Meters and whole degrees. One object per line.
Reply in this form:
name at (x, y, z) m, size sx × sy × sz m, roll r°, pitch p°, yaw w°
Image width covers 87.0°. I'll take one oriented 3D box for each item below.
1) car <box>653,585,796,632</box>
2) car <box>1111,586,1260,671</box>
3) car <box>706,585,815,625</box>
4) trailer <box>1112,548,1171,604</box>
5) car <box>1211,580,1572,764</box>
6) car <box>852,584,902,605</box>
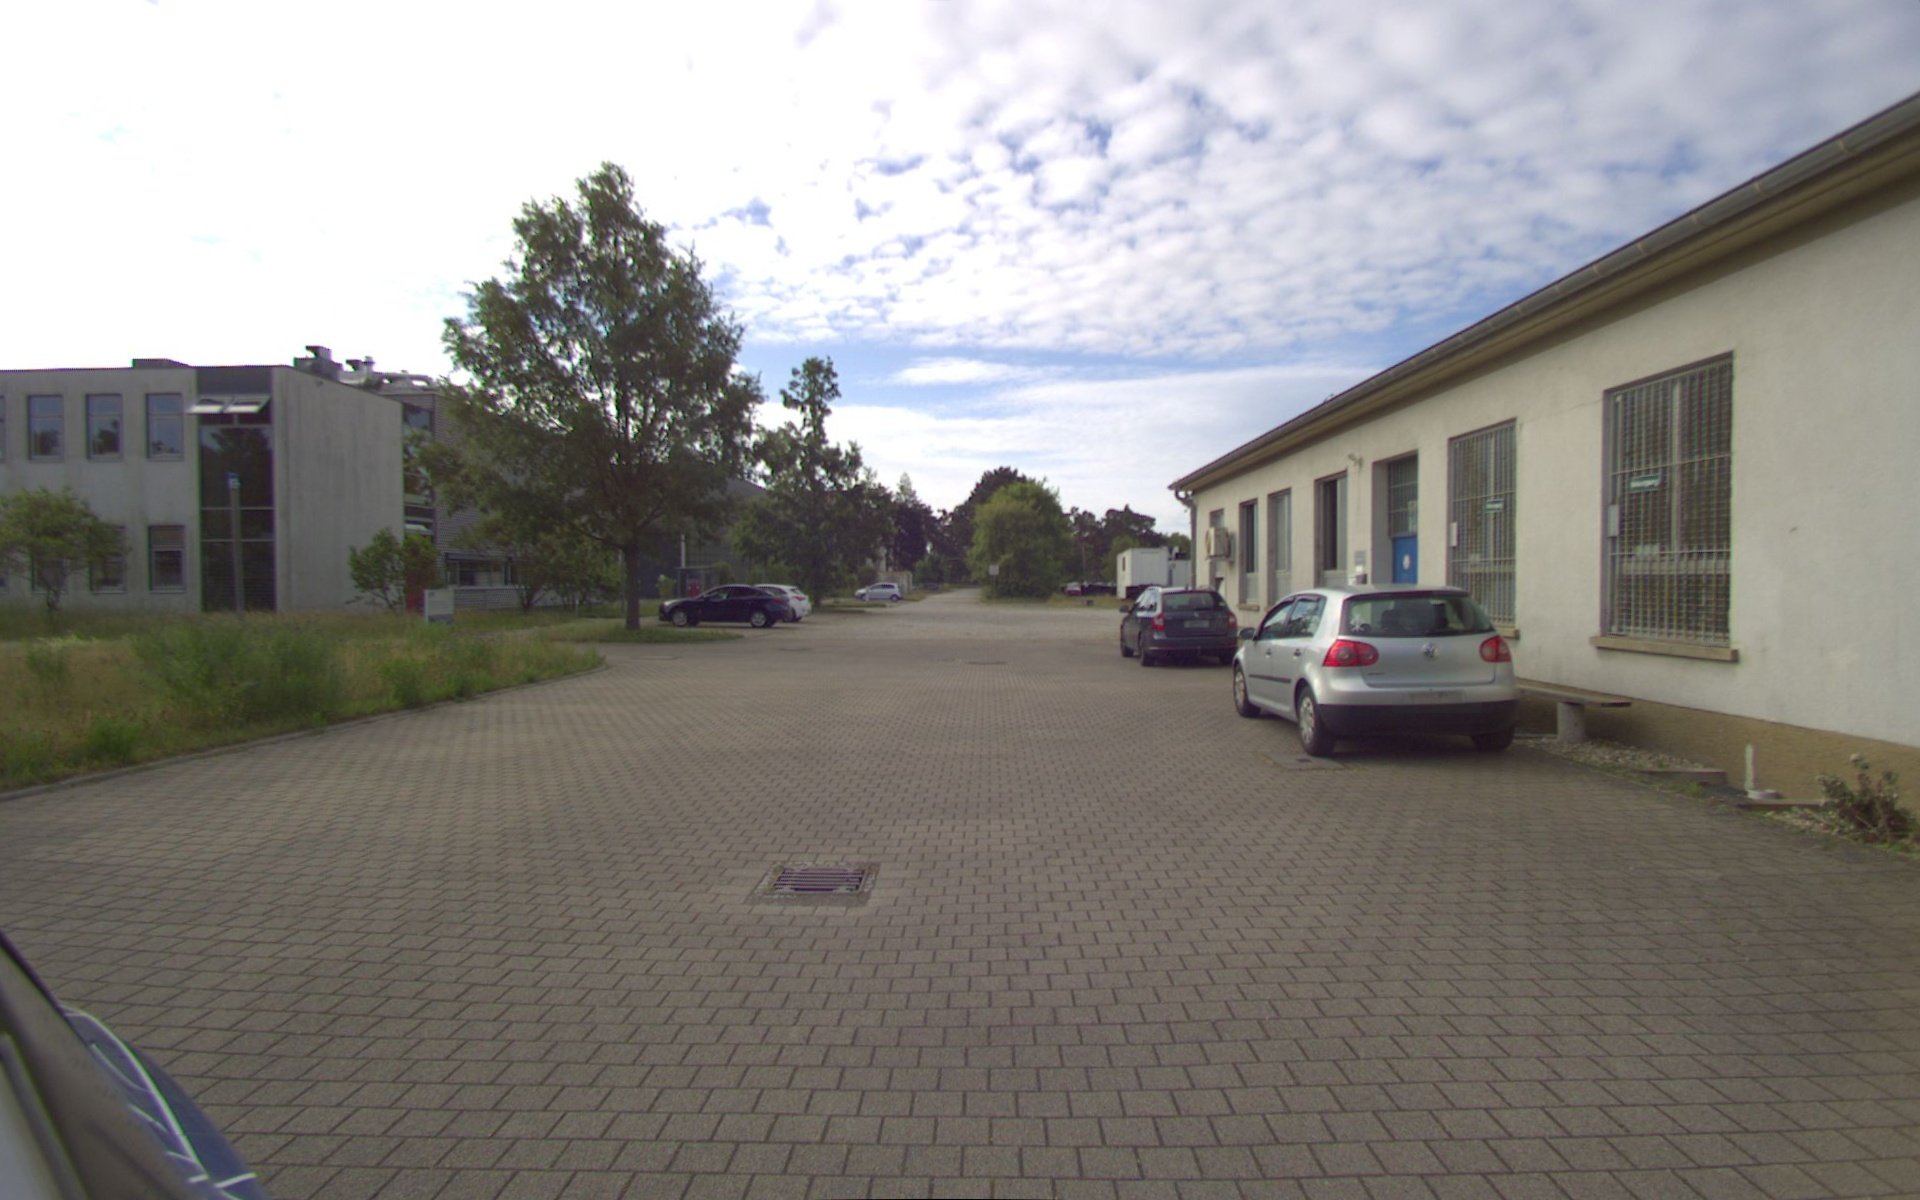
car at (-8.020, 0.263, 34.702) m, size 4.417 × 1.458 × 1.943 m, roll 1°, pitch 1°, yaw 2°
car at (4.280, 0.466, 20.032) m, size 1.904 × 1.472 × 4.810 m, roll 0°, pitch 1°, yaw 0°
car at (-7.837, 0.180, 40.010) m, size 3.935 × 1.477 × 1.882 m, roll 0°, pitch 1°, yaw 2°
trailer at (12.719, -1.644, 71.749) m, size 2.841 × 3.689 × 10.765 m, roll 0°, pitch 1°, yaw 4°
car at (3.958, 0.542, 10.219) m, size 1.905 × 1.450 × 4.365 m, roll 0°, pitch 1°, yaw 2°
car at (-7.053, -0.516, 86.185) m, size 4.076 × 1.637 × 1.939 m, roll 2°, pitch 1°, yaw 0°
